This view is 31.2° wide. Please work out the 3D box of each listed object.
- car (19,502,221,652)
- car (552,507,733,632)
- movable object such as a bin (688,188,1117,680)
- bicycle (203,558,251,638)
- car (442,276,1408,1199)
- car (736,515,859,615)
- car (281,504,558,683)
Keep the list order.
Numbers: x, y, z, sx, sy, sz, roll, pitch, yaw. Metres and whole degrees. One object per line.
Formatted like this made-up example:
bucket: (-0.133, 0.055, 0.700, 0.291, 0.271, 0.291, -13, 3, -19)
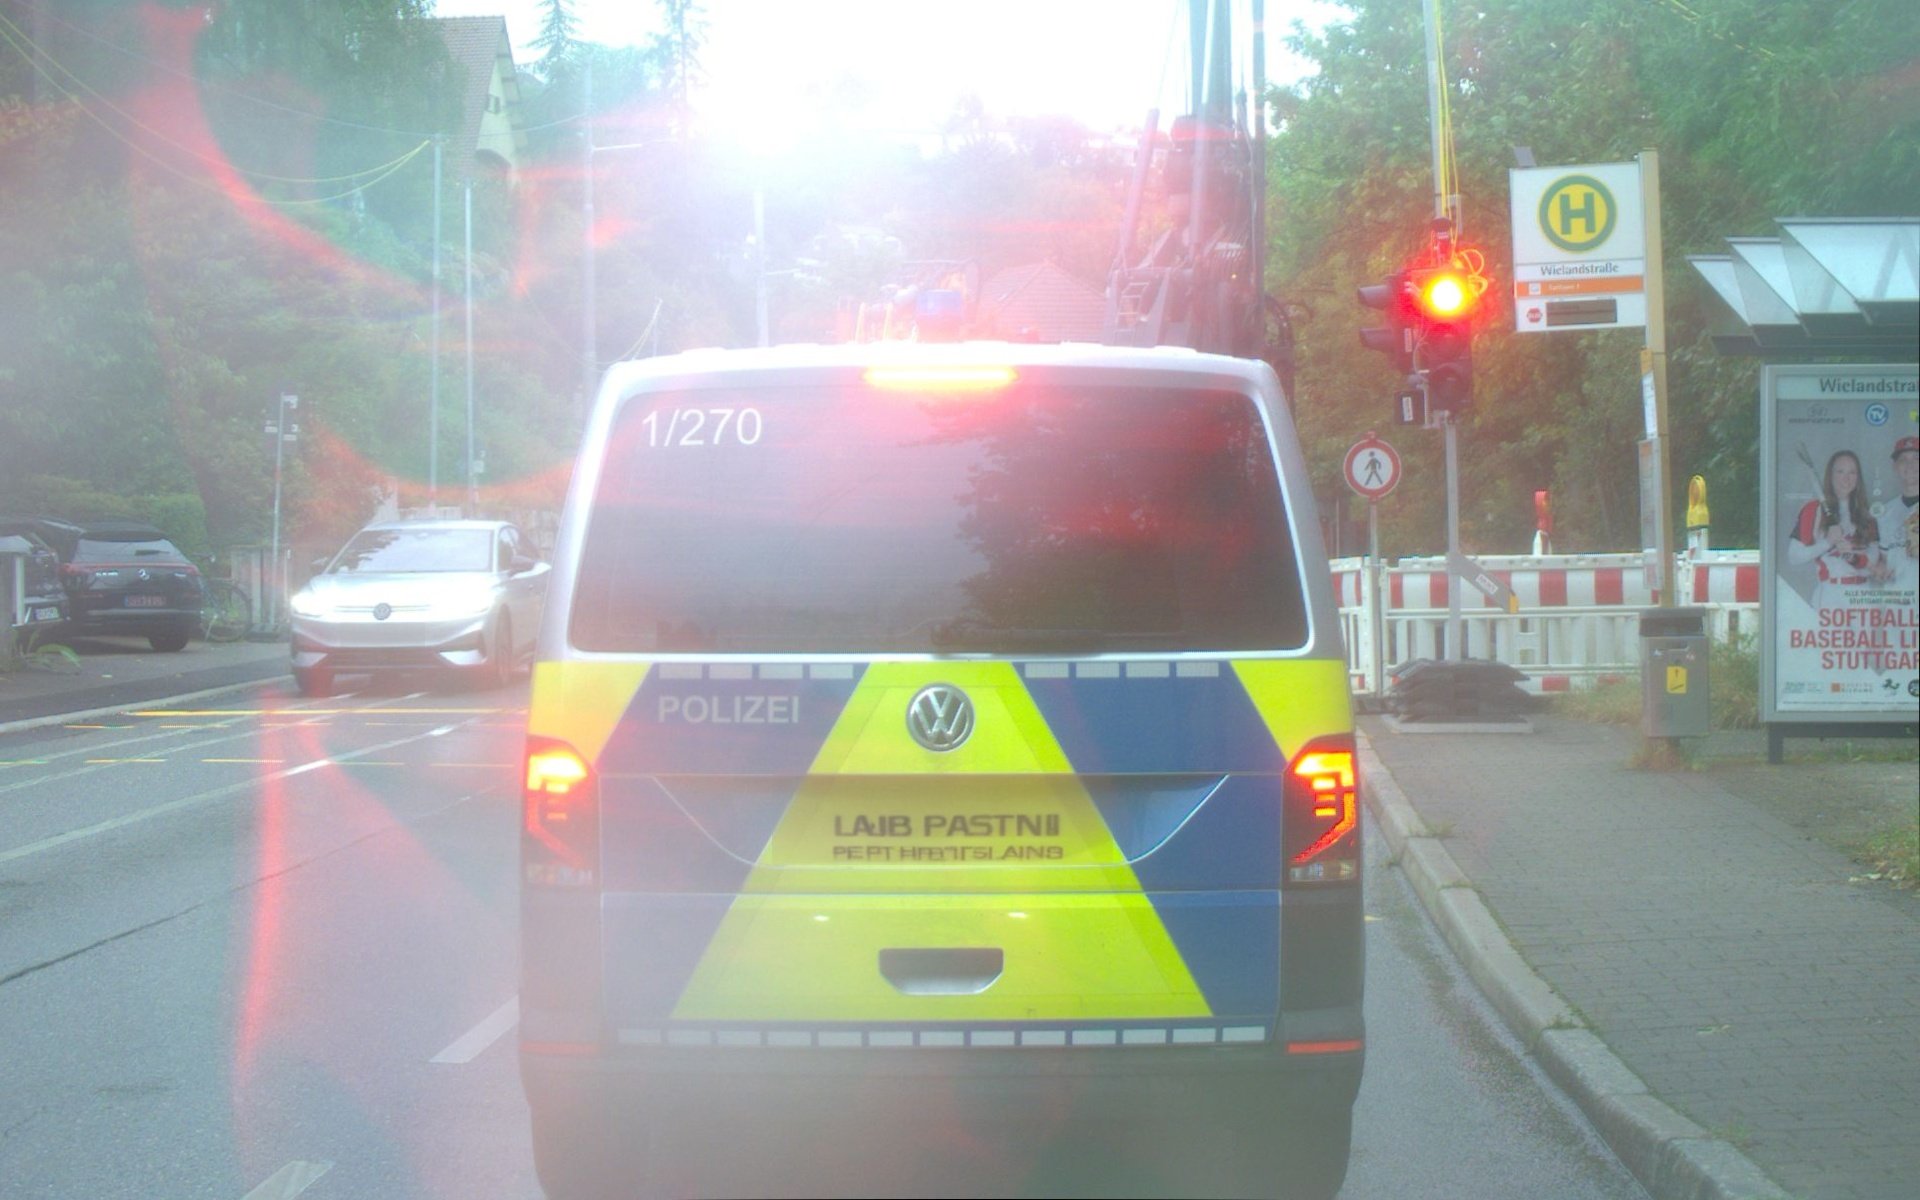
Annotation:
car: (-9.324, -0.291, 37.972, 1.765, 1.481, 3.743, 1, 3, -20)
car: (-4.305, -0.428, 47.238, 1.867, 1.616, 4.164, 1, 1, 3)
movable object such as a bin: (-0.421, -1.470, 31.628, 2.832, 4.163, 4.378, 1, 1, 15)
bicycle: (-8.442, -0.031, 39.589, 0.462, 0.894, 1.634, 0, 1, -15)
car: (-0.094, 0.351, 8.829, 1.893, 2.043, 4.000, 1, 1, -1)
car: (-2.844, -0.637, 61.131, 1.993, 1.668, 4.688, 1, 1, -1)
car: (-4.950, -0.084, 32.111, 1.853, 1.522, 4.820, 1, 1, -1)
